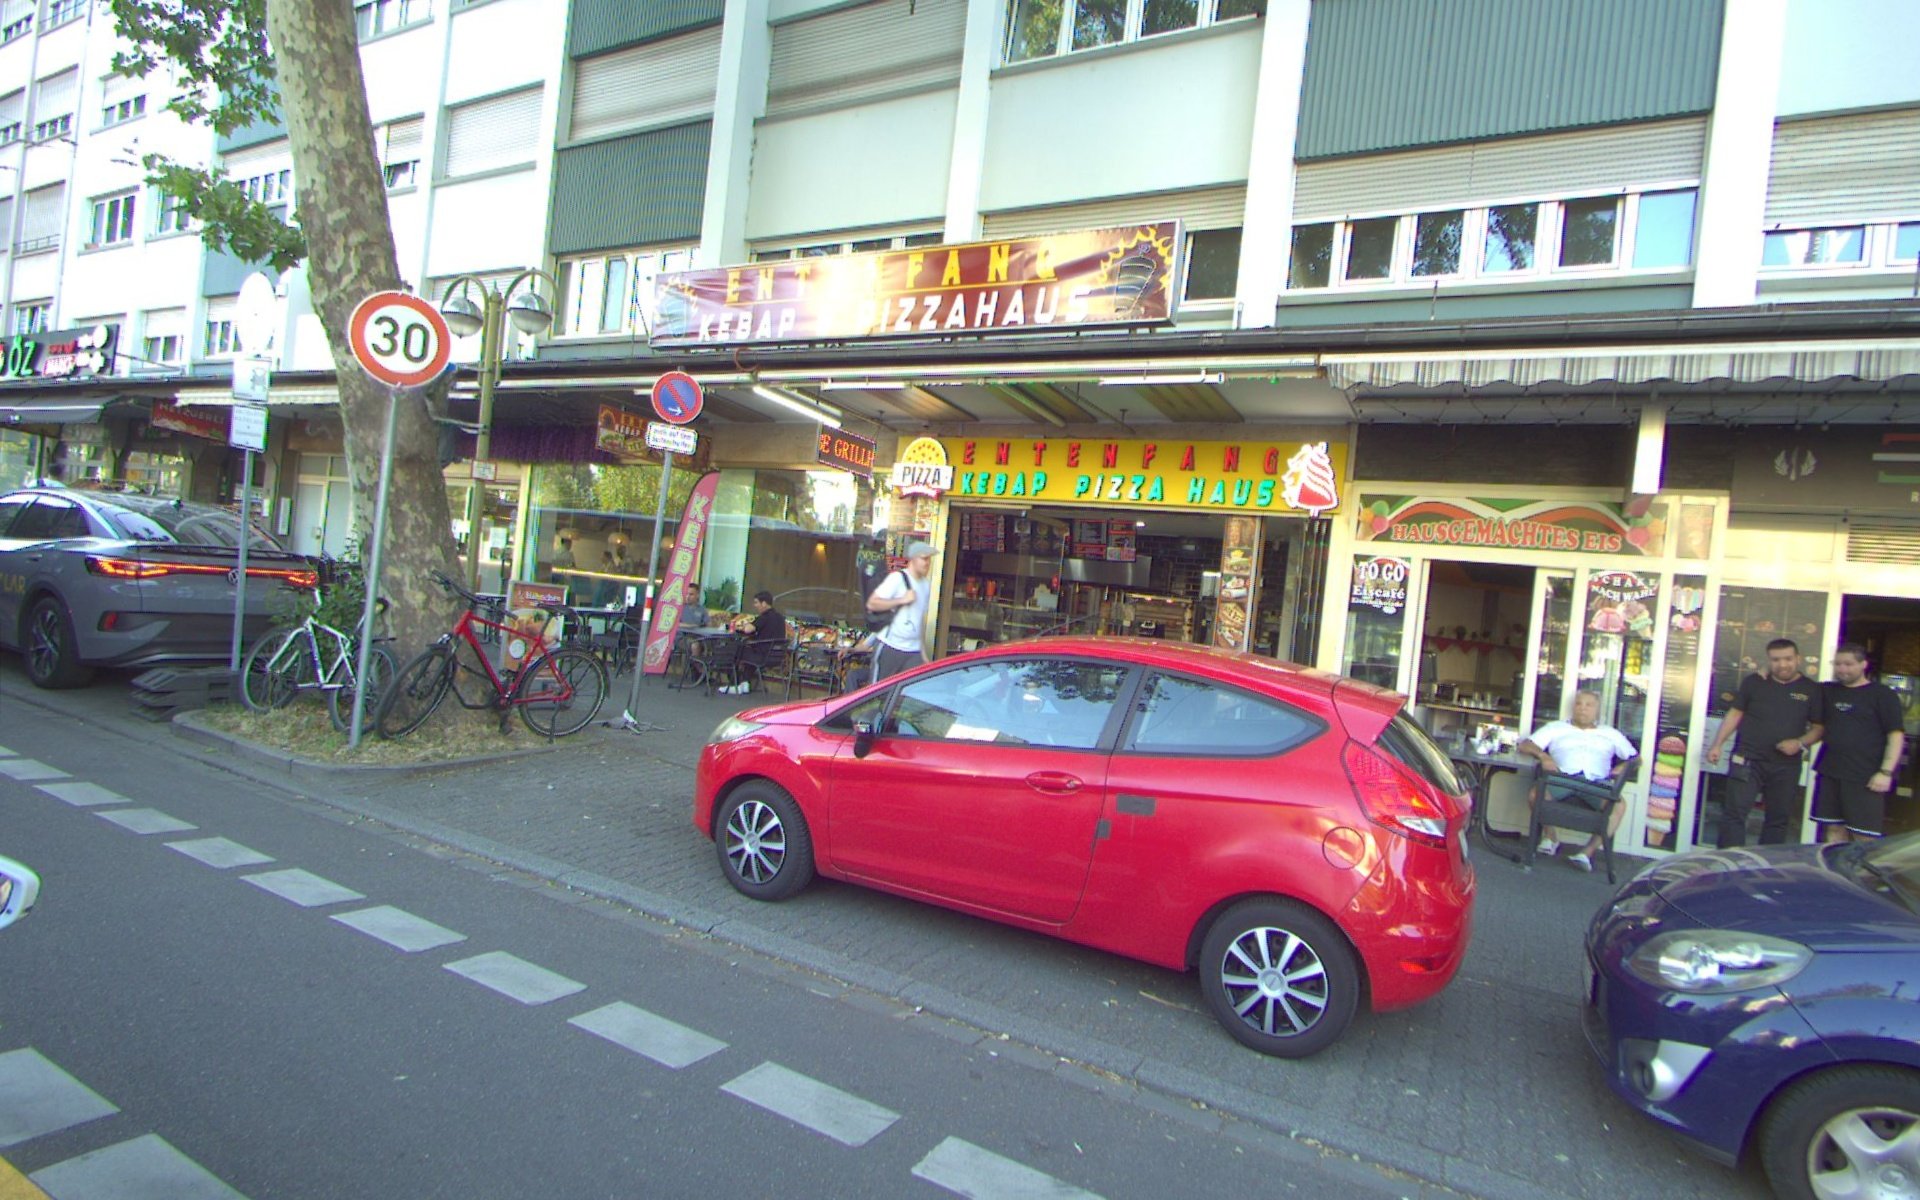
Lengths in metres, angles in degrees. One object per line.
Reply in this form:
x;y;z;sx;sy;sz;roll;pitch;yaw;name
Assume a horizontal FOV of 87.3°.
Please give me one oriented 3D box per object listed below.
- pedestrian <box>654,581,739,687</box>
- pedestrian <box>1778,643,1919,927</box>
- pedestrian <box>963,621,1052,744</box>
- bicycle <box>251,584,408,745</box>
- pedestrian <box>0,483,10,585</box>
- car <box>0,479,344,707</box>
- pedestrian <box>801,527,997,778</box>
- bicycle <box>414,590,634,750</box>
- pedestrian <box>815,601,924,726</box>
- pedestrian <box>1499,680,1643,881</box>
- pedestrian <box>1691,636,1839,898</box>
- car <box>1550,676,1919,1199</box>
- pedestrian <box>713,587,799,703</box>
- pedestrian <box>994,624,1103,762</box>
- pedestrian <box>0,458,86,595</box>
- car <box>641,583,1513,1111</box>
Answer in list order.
-3.236;0.413;12.362;0.694;1.220;0.675;7;3;42;pedestrian
6.212;1.220;6.934;0.636;1.783;0.610;8;3;34;pedestrian
0.493;0.830;10.382;0.585;1.172;0.671;6;3;31;pedestrian
-4.444;0.430;7.080;1.110;0.941;0.295;9;6;21;bicycle
-12.071;-0.672;11.946;0.741;1.600;0.873;6;0;-20;pedestrian
-7.815;-0.195;9.181;4.223;1.619;1.742;7;2;27;car
-0.507;0.427;8.575;1.104;1.913;1.023;6;0;31;pedestrian
-3.232;0.509;7.559;0.291;1.082;1.455;12;7;42;bicycle
-0.978;0.667;10.867;0.861;1.237;0.688;2;3;-44;pedestrian
4.637;1.300;7.623;0.767;1.249;1.202;6;3;33;pedestrian
5.852;1.177;7.356;0.588;1.759;0.587;8;3;33;pedestrian
3.872;1.225;2.905;3.543;1.485;1.620;7;2;29;car
-2.390;0.515;11.799;0.701;1.260;0.614;7;3;41;pedestrian
0.832;0.843;9.412;0.740;1.172;0.593;6;3;33;pedestrian
-14.487;-1.144;15.867;0.701;2.040;0.770;7;2;29;pedestrian
0.478;0.849;4.995;3.780;1.448;1.668;7;2;27;car
